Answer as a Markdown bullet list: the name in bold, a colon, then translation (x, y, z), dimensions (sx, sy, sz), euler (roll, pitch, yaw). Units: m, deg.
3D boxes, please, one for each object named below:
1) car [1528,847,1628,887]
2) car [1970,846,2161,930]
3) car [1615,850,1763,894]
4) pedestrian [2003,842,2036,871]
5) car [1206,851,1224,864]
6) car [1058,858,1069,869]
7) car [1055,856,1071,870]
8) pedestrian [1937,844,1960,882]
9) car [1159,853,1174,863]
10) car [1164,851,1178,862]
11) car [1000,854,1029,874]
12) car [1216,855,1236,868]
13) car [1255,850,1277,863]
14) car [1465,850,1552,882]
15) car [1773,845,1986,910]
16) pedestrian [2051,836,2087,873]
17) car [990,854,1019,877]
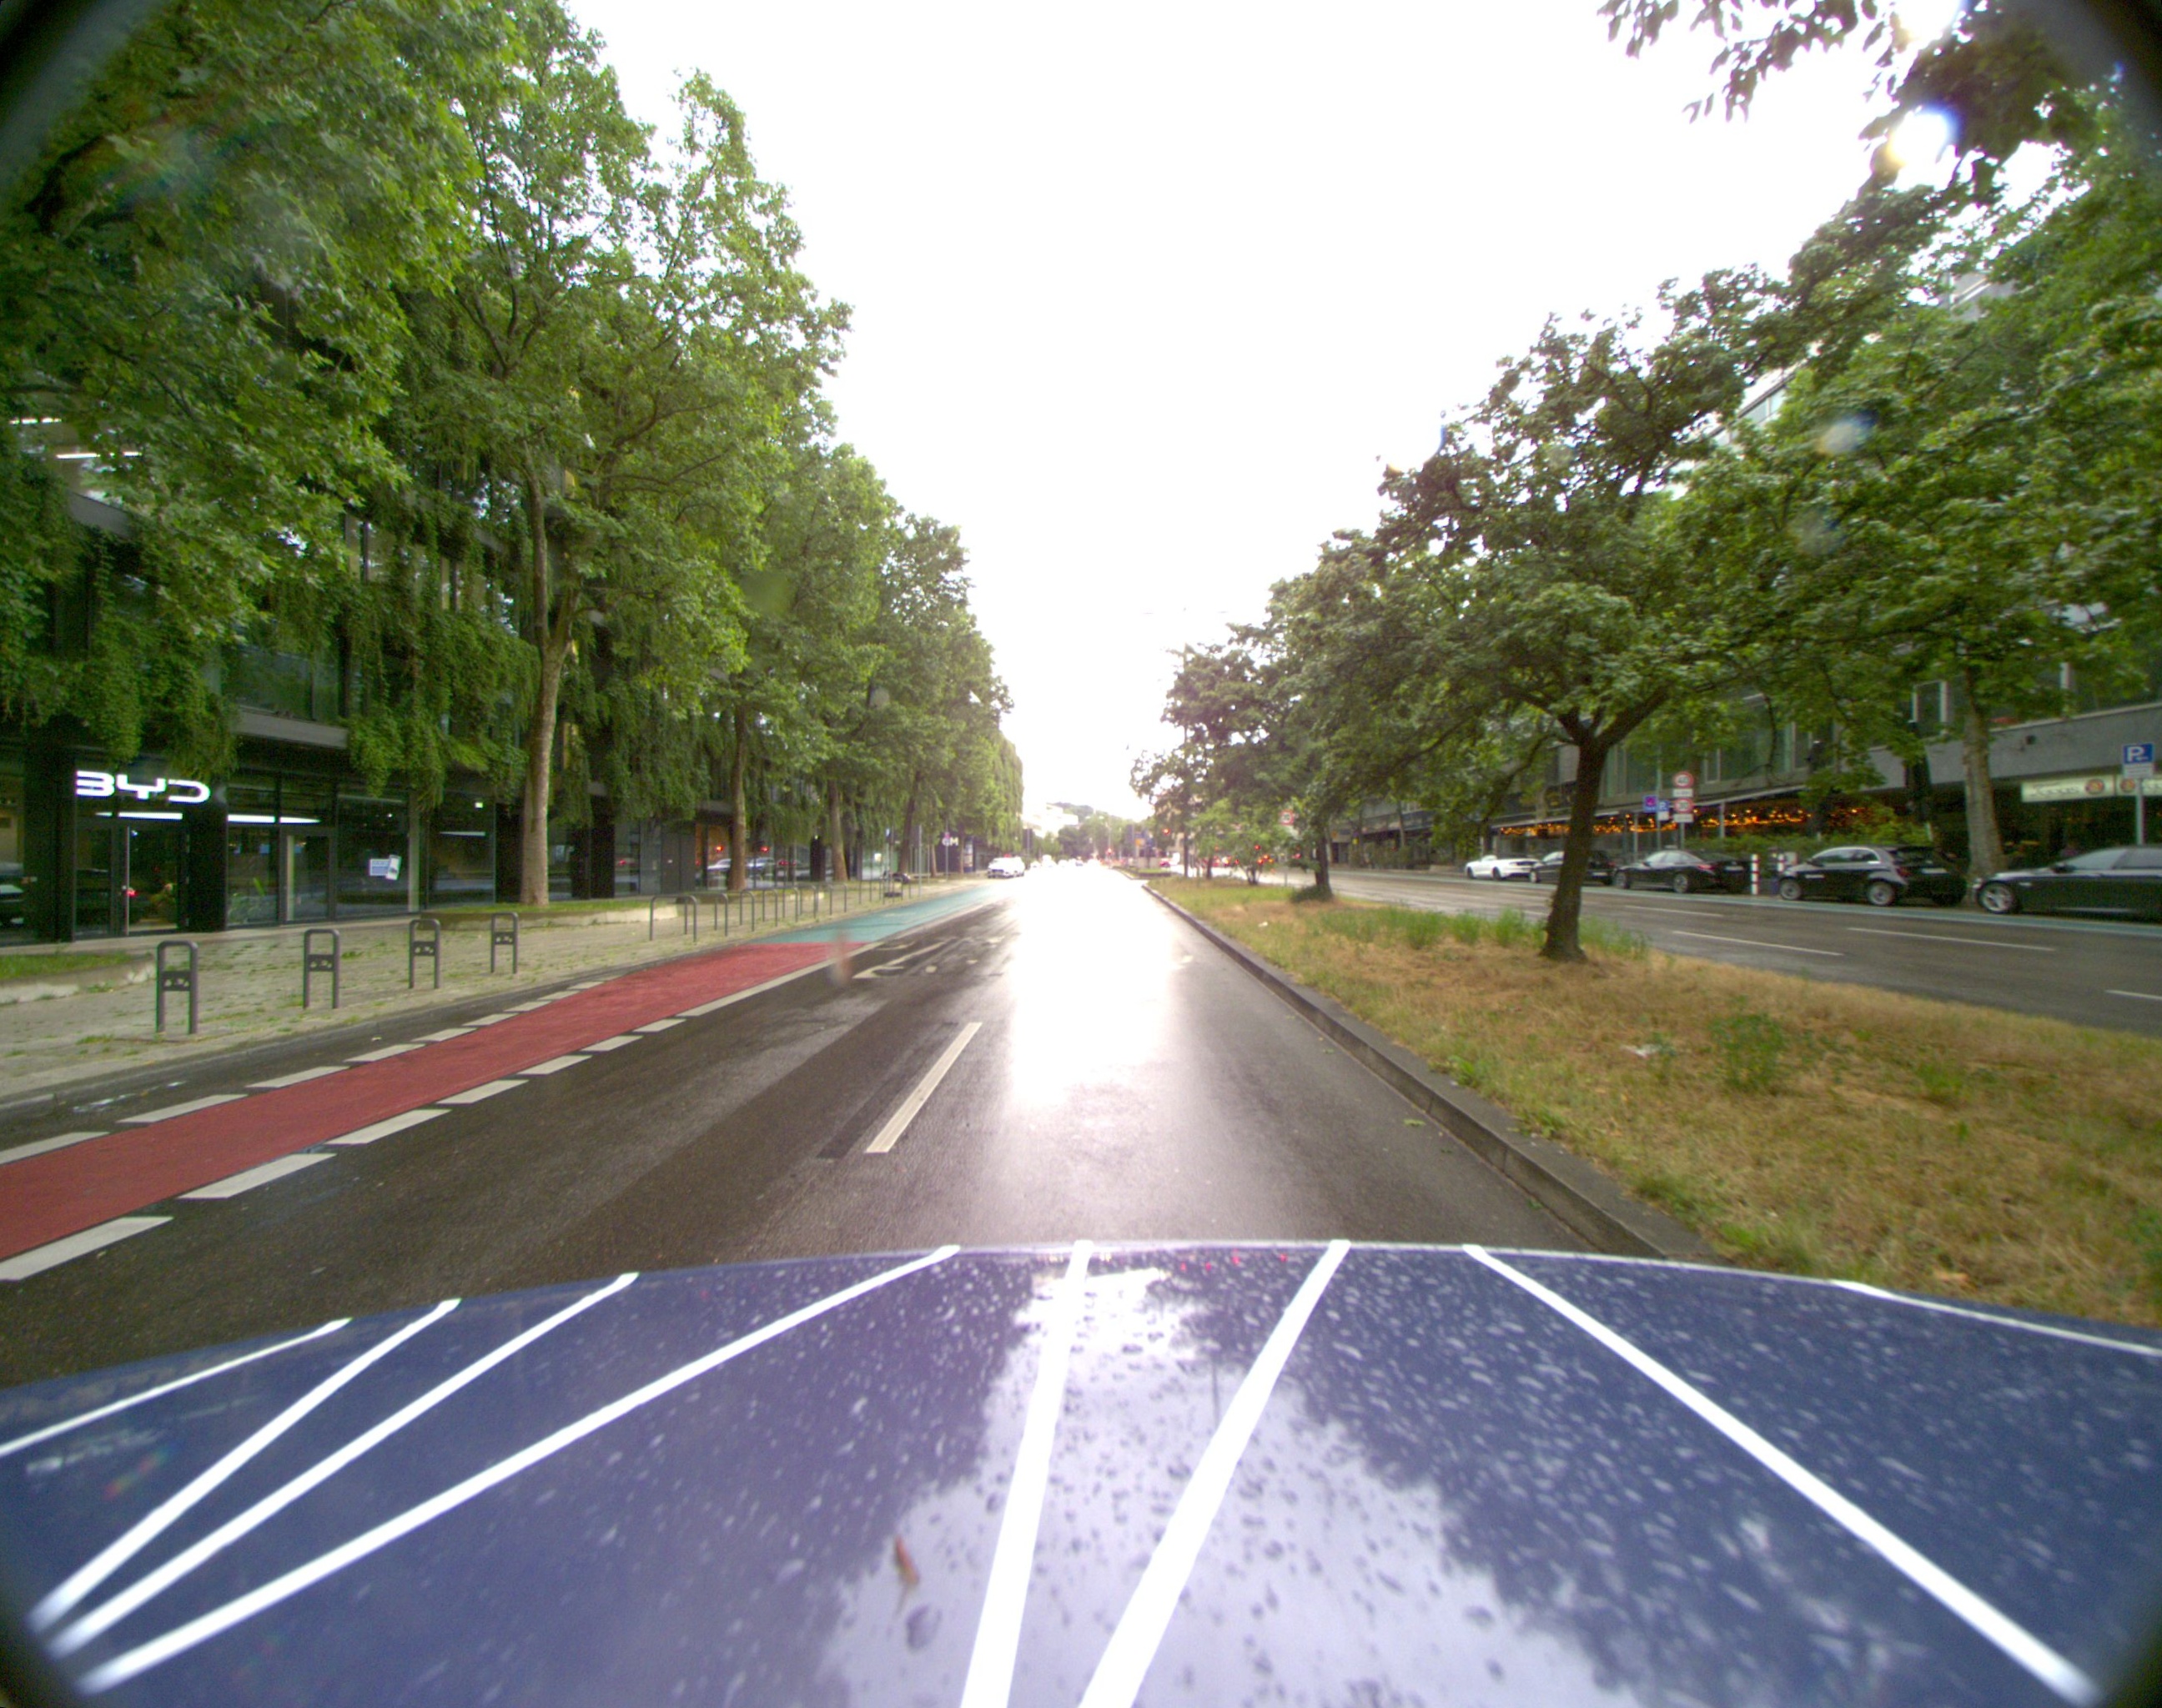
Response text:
- **car**: translation (20.478, 0.489, 31.489), dimensions (1.750, 1.445, 3.788), euler (-2, 1, 2)
- **car**: translation (19.879, 0.596, 14.012), dimensions (1.875, 1.377, 4.537), euler (-2, 1, 5)
- **car**: translation (20.187, 0.548, 25.479), dimensions (1.647, 1.232, 4.319), euler (-2, 1, 3)
- **pedestrian**: translation (27.938, 0.076, 22.623), dimensions (0.440, 0.845, 0.433), euler (-2, 1, -1)
- **car**: translation (19.367, 0.479, 110.194), dimensions (1.938, 1.776, 3.955), euler (-2, 1, 2)
- **car**: translation (-2.686, 1.440, 120.362), dimensions (1.556, 1.534, 3.663), euler (-2, 1, 1)
- **car**: translation (-2.195, 1.137, 95.583), dimensions (1.780, 1.546, 3.929), euler (-2, 1, 1)
- **pedestrian**: translation (27.736, 0.283, 24.299), dimensions (0.446, 1.179, 0.466), euler (-4, 2, -44)
- **car**: translation (12.593, 0.547, 112.271), dimensions (1.678, 1.381, 3.527), euler (-2, 1, -2)
- **car**: translation (16.981, 0.447, 143.684), dimensions (1.998, 1.805, 3.999), euler (-2, 1, 0)
- **car**: translation (-6.090, 0.897, 70.429), dimensions (2.036, 1.553, 4.585), euler (-2, 1, 2)
- **car**: translation (18.941, 0.990, 99.318), dimensions (1.780, 1.565, 3.728), euler (-2, 1, 0)
- **car**: translation (21.358, 0.243, 87.868), dimensions (1.765, 1.318, 3.738), euler (-2, 1, 2)
- **car**: translation (20.747, 0.539, 37.082), dimensions (1.881, 1.318, 4.392), euler (-2, 1, 2)
- **car**: translation (20.041, 0.526, 19.289), dimensions (1.875, 1.414, 3.400), euler (-2, 1, 2)
- **pedestrian**: translation (27.748, 0.022, 21.337), dimensions (0.464, 1.010, 0.424), euler (-2, 1, -1)
- **car**: translation (-6.444, 0.936, 64.380), dimensions (1.932, 1.726, 4.598), euler (-2, 1, 0)
